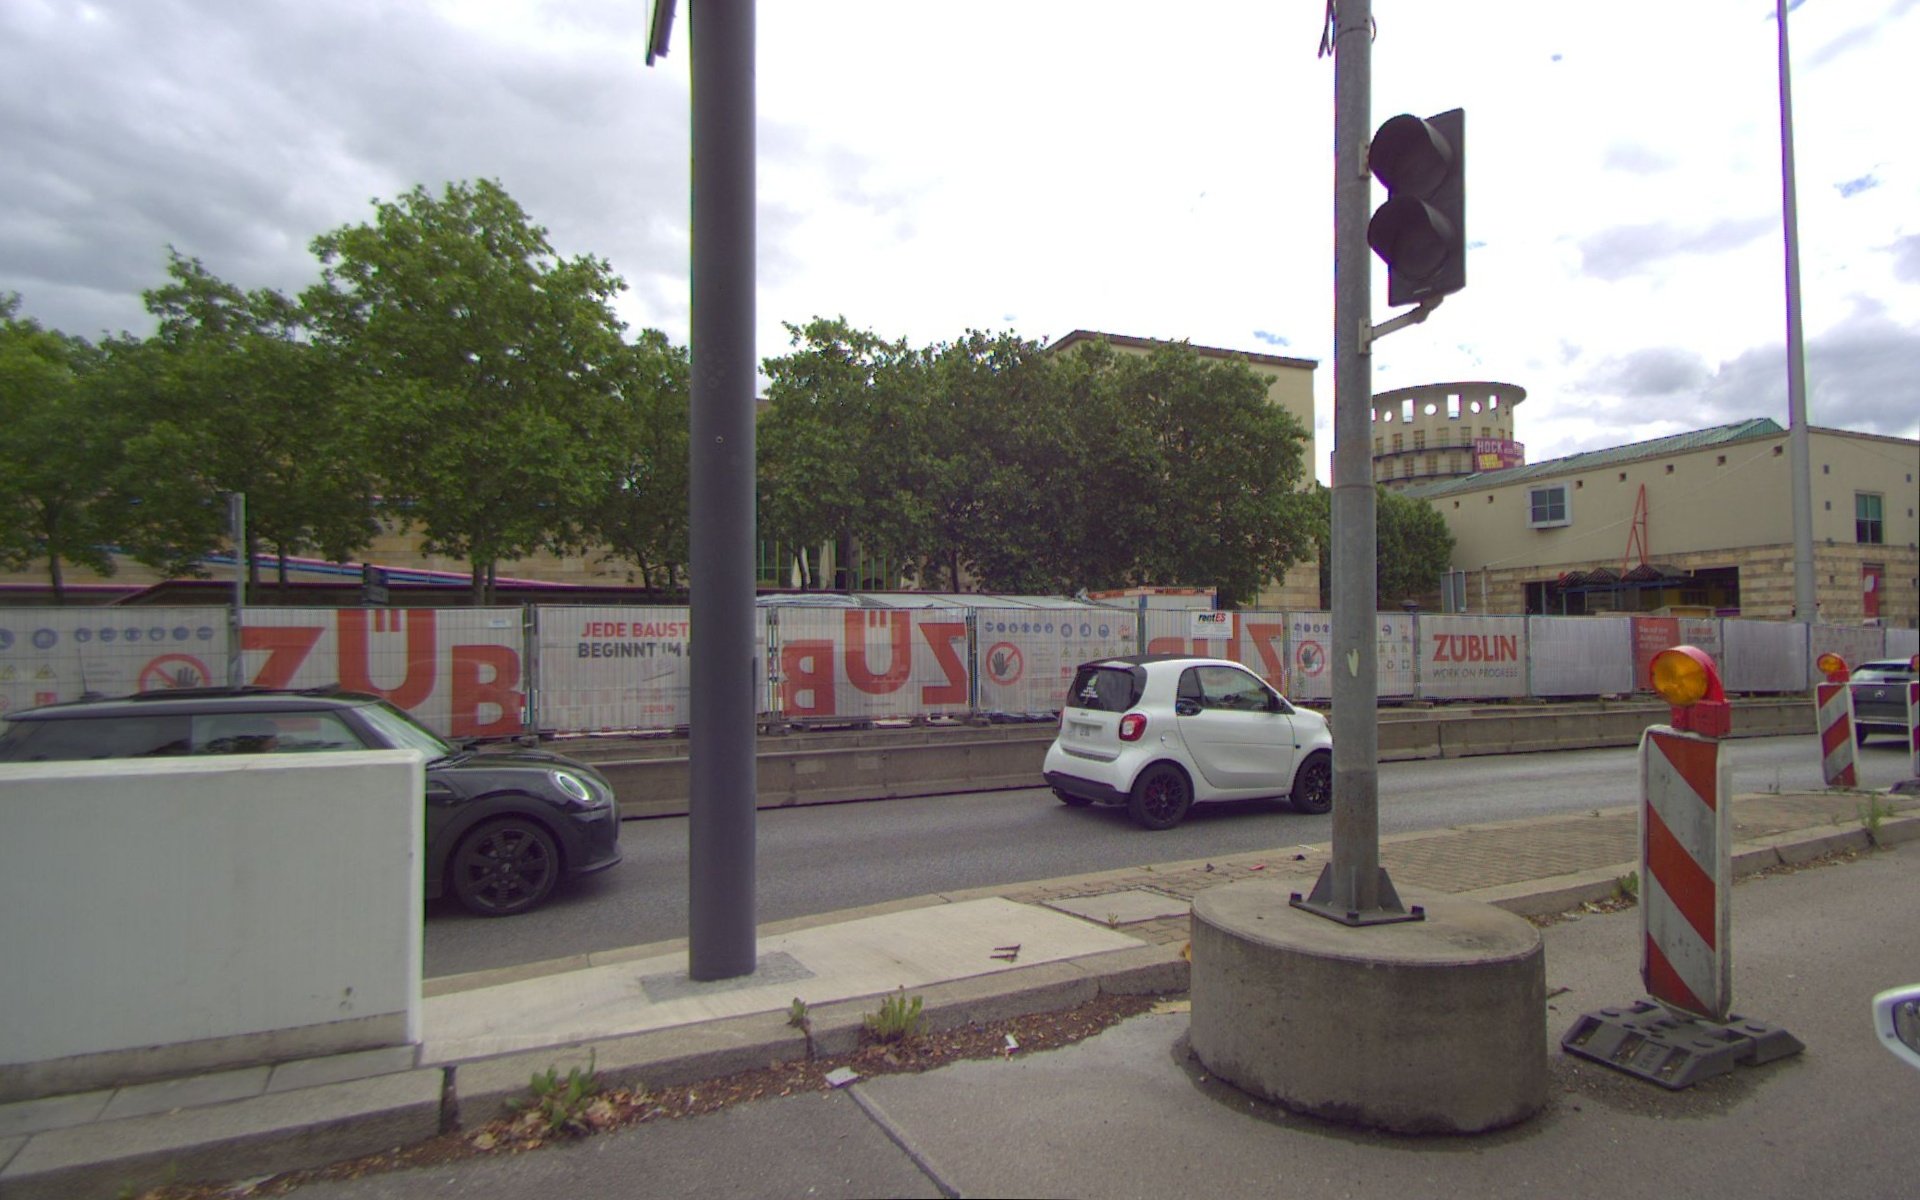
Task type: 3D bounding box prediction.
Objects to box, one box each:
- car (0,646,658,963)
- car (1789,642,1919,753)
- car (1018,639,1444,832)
[{"bbox_3d":[-4.225,1.159,6.811,3.945,1.663,1.989,1,-3,-25],"label":"car"},{"bbox_3d":[15.444,1.484,15.973,4.271,1.588,1.747,1,-3,-24],"label":"car"},{"bbox_3d":[2.802,1.256,10.472,3.945,1.663,1.988,1,-3,-25],"label":"car"}]
